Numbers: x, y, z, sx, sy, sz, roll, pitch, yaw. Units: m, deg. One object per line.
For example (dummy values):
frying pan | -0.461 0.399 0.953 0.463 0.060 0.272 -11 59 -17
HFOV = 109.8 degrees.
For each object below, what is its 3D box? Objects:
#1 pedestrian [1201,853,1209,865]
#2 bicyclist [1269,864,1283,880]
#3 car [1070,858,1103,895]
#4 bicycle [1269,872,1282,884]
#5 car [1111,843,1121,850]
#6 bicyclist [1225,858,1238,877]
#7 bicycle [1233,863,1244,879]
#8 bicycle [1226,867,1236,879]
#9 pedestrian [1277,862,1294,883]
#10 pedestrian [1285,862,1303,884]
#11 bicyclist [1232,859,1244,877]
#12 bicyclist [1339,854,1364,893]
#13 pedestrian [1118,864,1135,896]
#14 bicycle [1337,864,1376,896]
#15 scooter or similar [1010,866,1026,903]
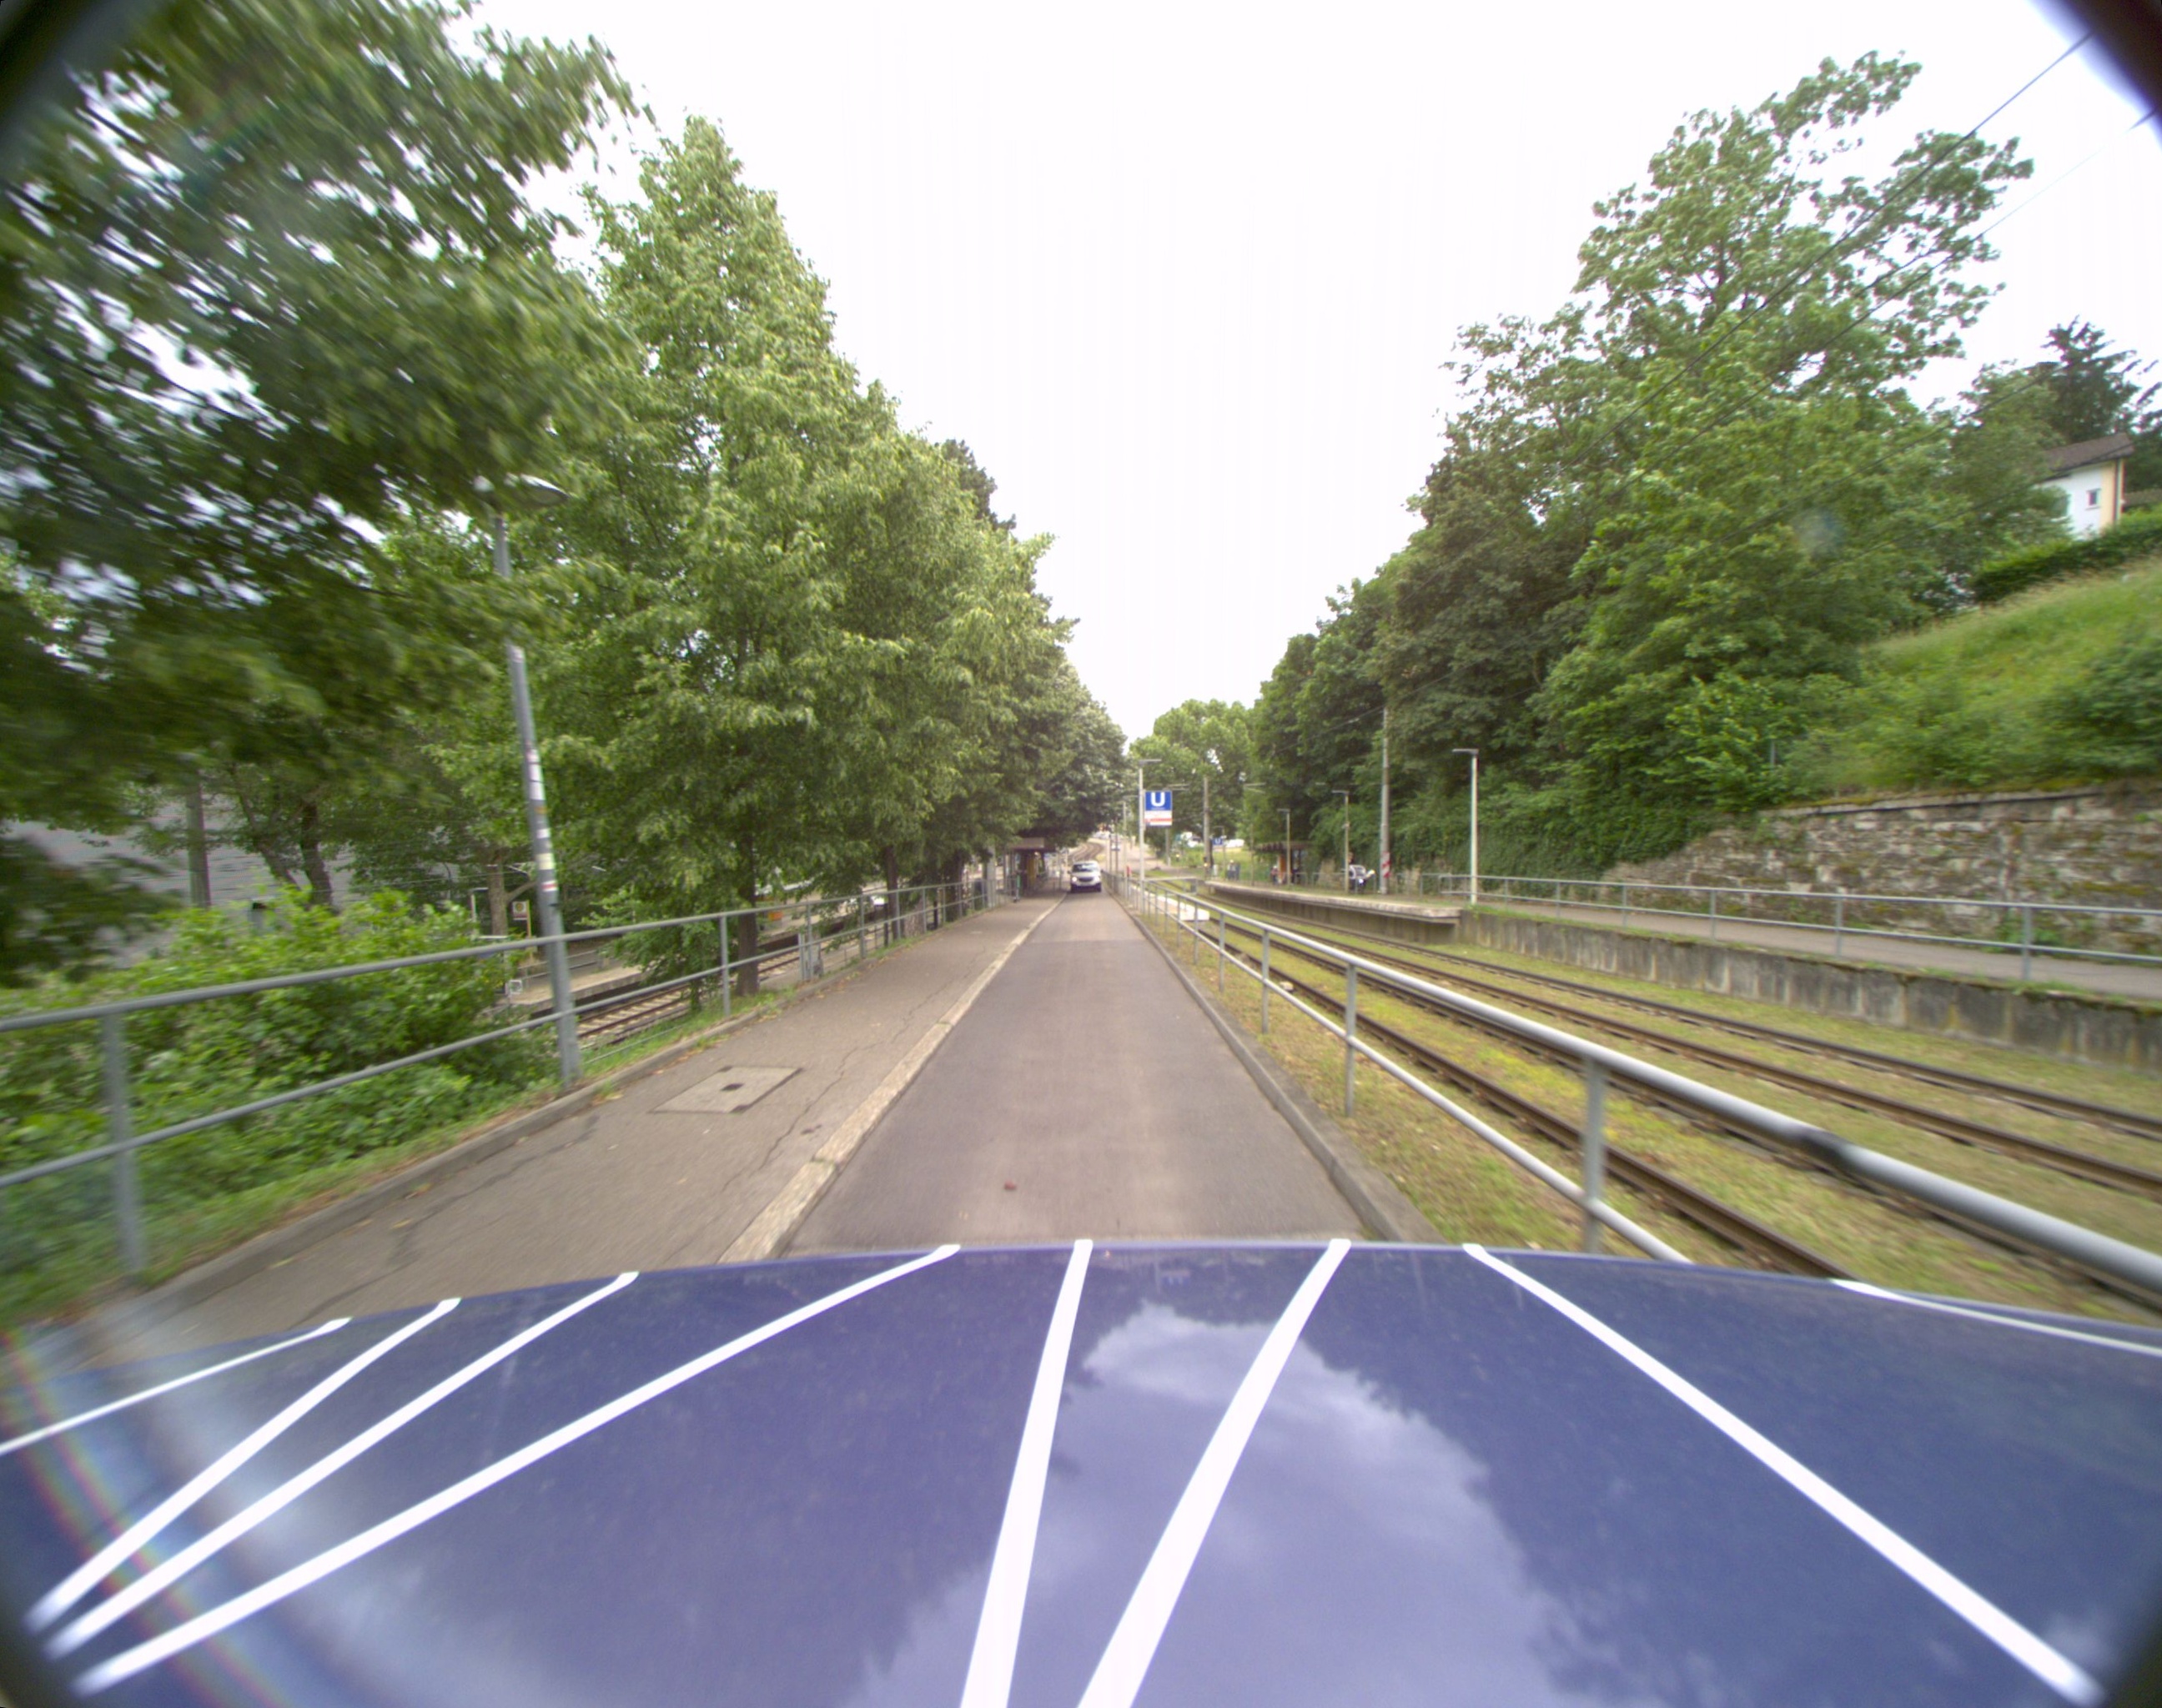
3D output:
pedestrian | 17.777 0.720 108.893 1.116 1.724 0.694 -1 1 11
bicyclist | 12.447 1.148 48.445 0.691 1.047 0.744 -1 0 0
car | 0.327 1.273 44.915 1.810 1.910 4.477 -2 1 0
bicycle | 12.395 1.518 48.515 0.451 0.776 1.565 -1 -1 1
car | 8.441 -1.765 180.936 1.997 1.648 4.002 -1 1 7
bicyclist | 11.756 1.065 59.325 0.747 1.422 0.908 -2 -1 1
bicycle | 12.680 1.365 61.117 0.464 1.181 1.940 -2 -1 1
bicycle | 11.765 1.498 59.649 0.479 0.919 1.845 -2 -2 1
pedestrian | 13.461 1.196 49.935 0.823 1.315 0.774 -2 1 -5
pedestrian | 13.665 1.186 48.752 0.823 1.367 0.774 -2 1 -5
bicyclist | 12.617 1.116 61.223 0.732 1.434 0.840 -1 -1 -1
bicyclist | 11.581 0.813 32.603 0.706 1.619 1.033 -2 0 4
pedestrian | 2.119 1.211 35.808 0.739 1.493 0.627 -2 0 2
bicycle | 11.565 1.062 31.961 0.752 1.232 2.868 -2 -1 4
scooter or similar | -2.460 1.185 29.781 0.431 1.376 1.455 -2 1 0
